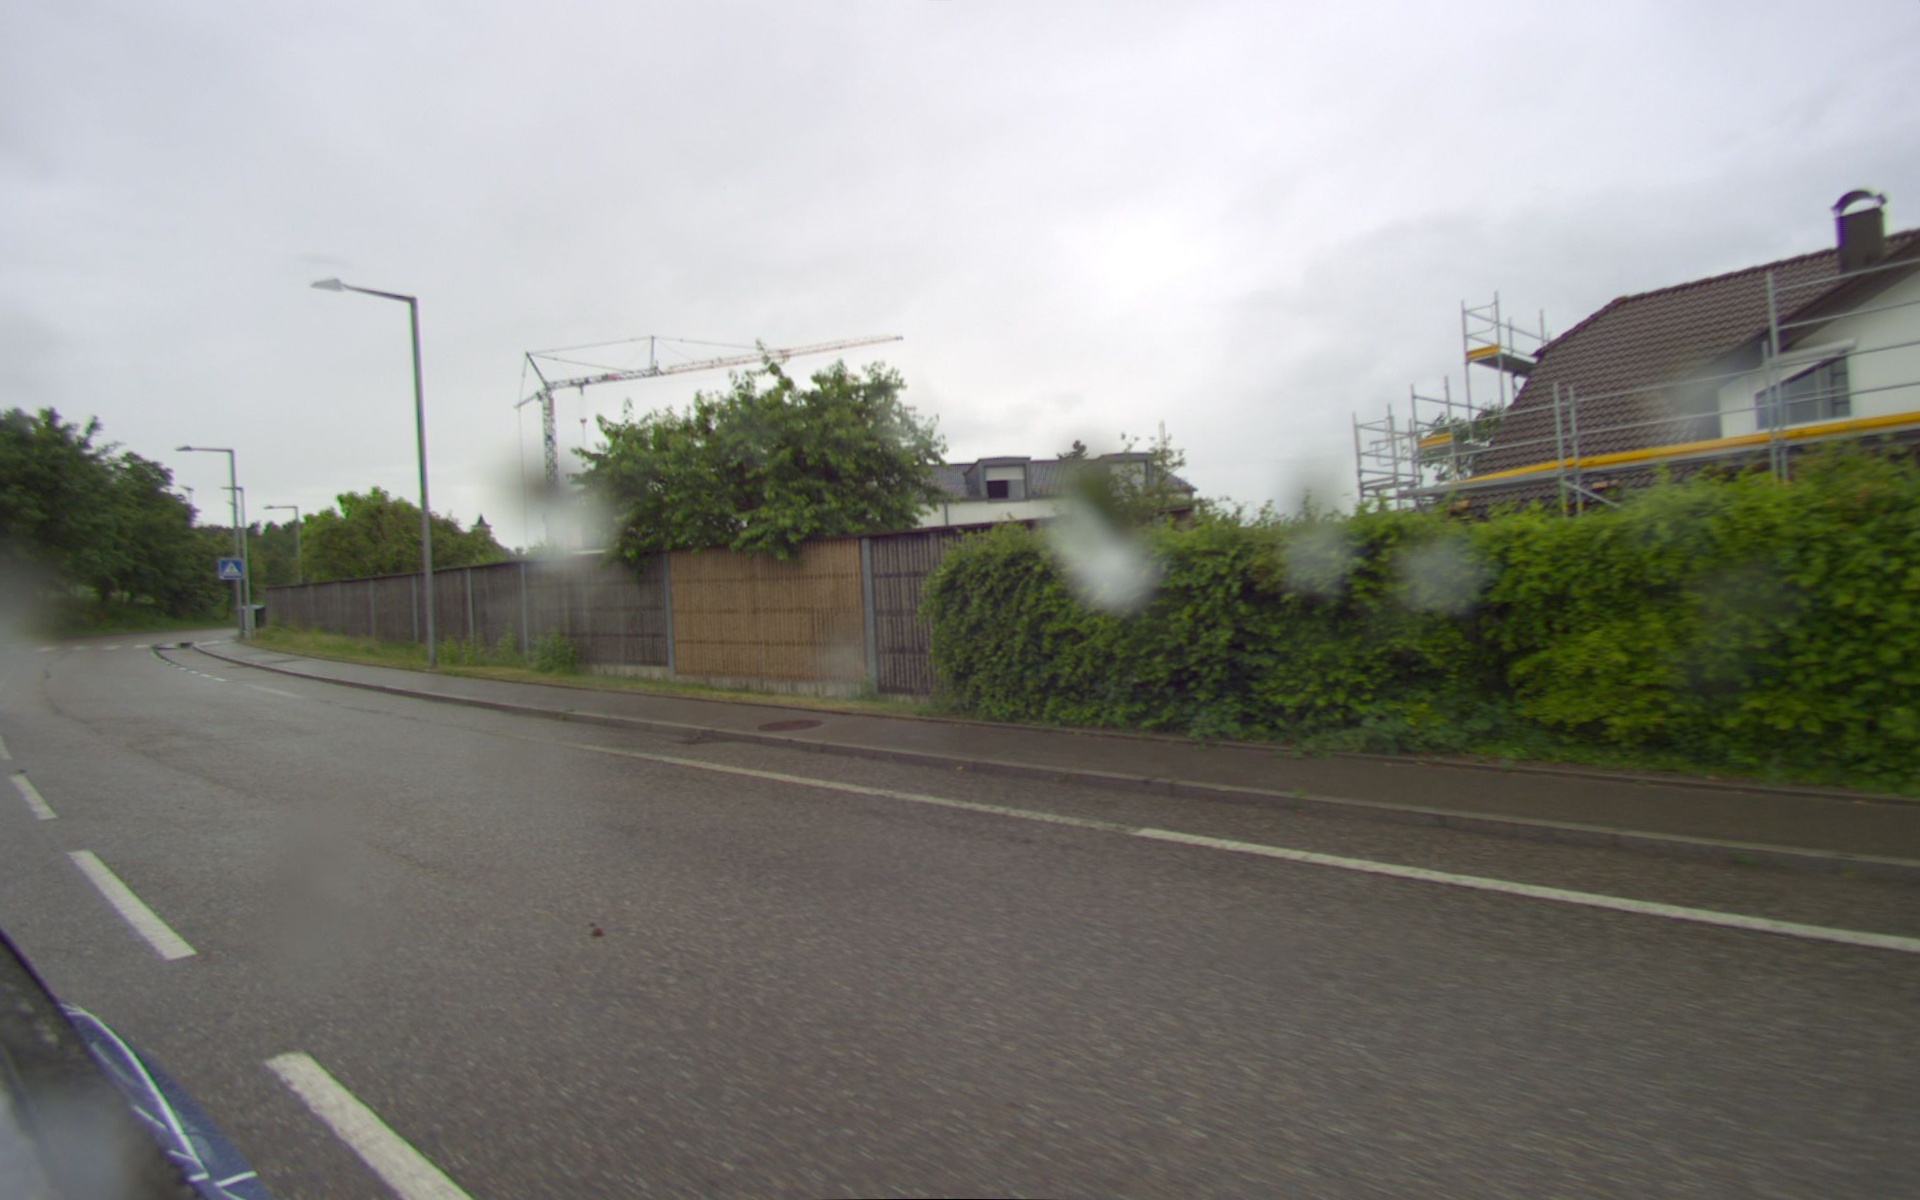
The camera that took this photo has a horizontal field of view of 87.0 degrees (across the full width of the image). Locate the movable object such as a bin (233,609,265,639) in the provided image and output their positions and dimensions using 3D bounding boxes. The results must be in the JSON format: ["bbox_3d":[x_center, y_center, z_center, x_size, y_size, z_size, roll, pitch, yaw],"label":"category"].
[{"bbox_3d":[-34.864,1.187,49.636,1.116,1.331,1.366,-6,2,-32],"label":"movable object such as a bin"}]

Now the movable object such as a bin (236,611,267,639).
[{"bbox_3d":[-35.836,1.265,51.229,1.116,1.311,1.402,-5,2,-32],"label":"movable object such as a bin"}]
